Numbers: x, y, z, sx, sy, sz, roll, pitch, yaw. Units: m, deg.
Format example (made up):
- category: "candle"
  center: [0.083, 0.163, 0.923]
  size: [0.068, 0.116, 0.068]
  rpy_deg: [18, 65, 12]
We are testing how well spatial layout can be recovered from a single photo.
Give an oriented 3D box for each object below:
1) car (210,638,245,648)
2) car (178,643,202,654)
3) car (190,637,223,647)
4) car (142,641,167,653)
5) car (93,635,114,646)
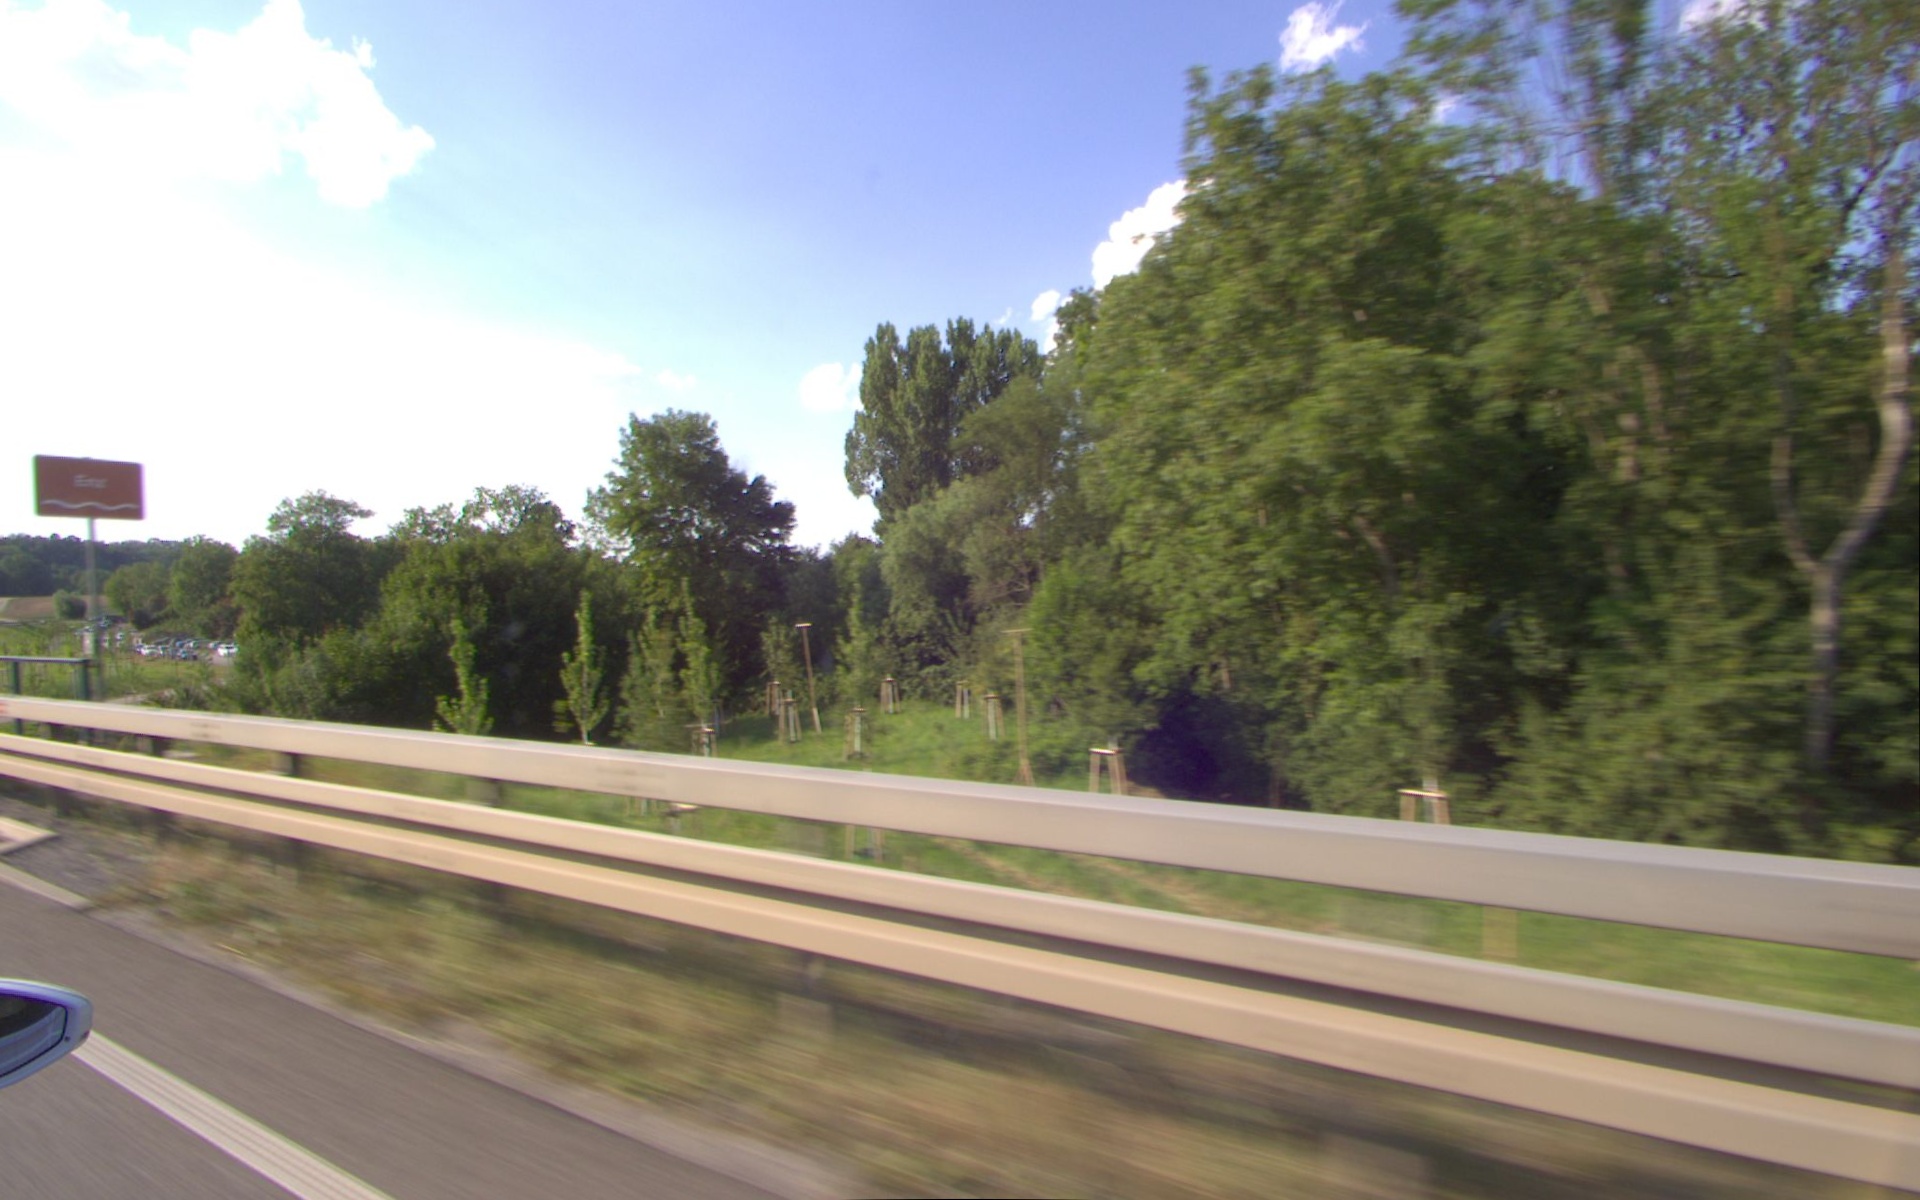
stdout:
- category: "car"
  center: [-121.738, 7.140, 166.409]
  size: [1.708, 1.475, 4.397]
  rpy_deg: [1, 0, 29]
- category: "car"
  center: [-109.219, 6.861, 142.020]
  size: [4.169, 1.516, 1.649]
  rpy_deg: [-1, -1, 37]
- category: "car"
  center: [-126.969, 7.085, 168.757]
  size: [1.594, 1.475, 4.226]
  rpy_deg: [0, -1, 32]
- category: "car"
  center: [-123.484, 7.162, 153.504]
  size: [4.198, 1.503, 1.812]
  rpy_deg: [1, 2, 35]
- category: "car"
  center: [-148.200, 7.005, 173.302]
  size: [4.723, 1.503, 1.883]
  rpy_deg: [1, 4, 39]
